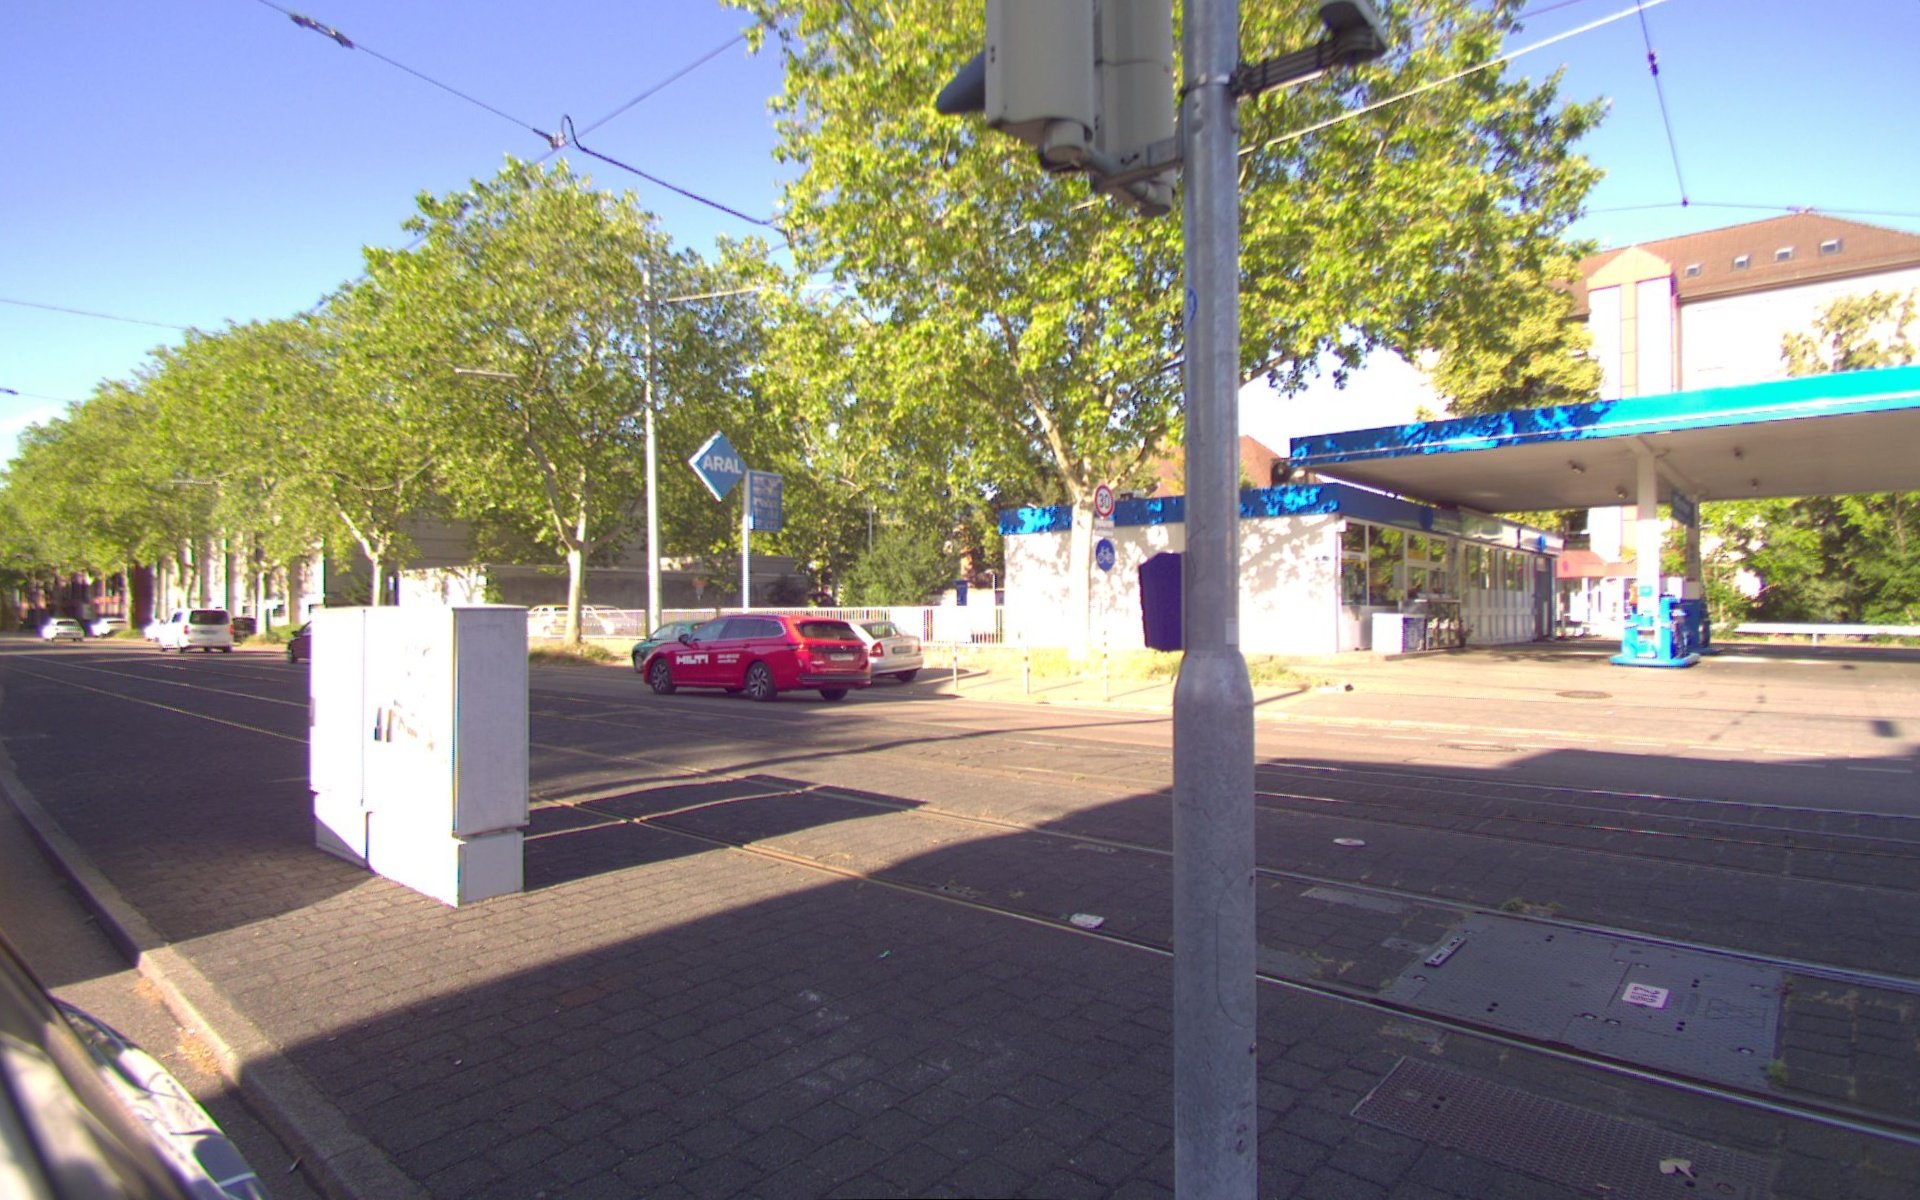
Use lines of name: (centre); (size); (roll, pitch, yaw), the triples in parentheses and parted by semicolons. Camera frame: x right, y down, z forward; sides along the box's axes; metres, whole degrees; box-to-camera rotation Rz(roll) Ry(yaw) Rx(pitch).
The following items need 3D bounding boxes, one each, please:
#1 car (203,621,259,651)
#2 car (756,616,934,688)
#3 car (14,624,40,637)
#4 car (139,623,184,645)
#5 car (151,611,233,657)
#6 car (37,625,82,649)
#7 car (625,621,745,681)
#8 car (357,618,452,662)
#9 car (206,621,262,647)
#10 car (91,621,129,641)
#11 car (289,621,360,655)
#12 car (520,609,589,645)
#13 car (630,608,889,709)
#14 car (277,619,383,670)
car: (-40.735, 1.977, 56.538); (3.998, 1.587, 1.678); (-1, -2, 41)
car: (-2.623, 1.092, 22.594); (3.998, 1.431, 1.709); (-1, 0, 41)
car: (-103.231, 3.383, 111.973); (3.998, 1.420, 1.678); (-1, -2, 41)
car: (-53.811, 2.287, 68.202); (3.998, 1.420, 1.678); (-1, -2, 41)
car: (-33.178, 1.433, 43.665); (4.390, 1.860, 1.827); (-1, -2, 39)
car: (-59.551, 2.414, 66.880); (3.998, 1.507, 1.741); (-1, 0, 41)
car: (-7.310, 1.301, 26.835); (3.253, 1.431, 1.526); (-1, 0, 41)
car: (-22.112, 1.555, 40.220); (4.431, 1.534, 1.731); (-1, 3, 40)
car: (-40.600, 1.885, 56.579); (3.998, 1.420, 1.678); (-1, -2, 41)
car: (-66.813, 2.410, 79.549); (3.998, 1.569, 1.678); (-1, -2, 41)
car: (-29.042, 1.698, 46.198); (3.998, 1.480, 1.678); (-1, -2, 41)
car: (-16.837, 1.094, 41.982); (3.151, 1.431, 1.525); (-1, 0, 44)
car: (-3.610, 0.945, 17.692); (4.761, 1.534, 1.887); (-1, -2, 40)
car: (-19.624, 1.332, 31.466); (3.998, 1.431, 1.678); (-1, 0, 41)
